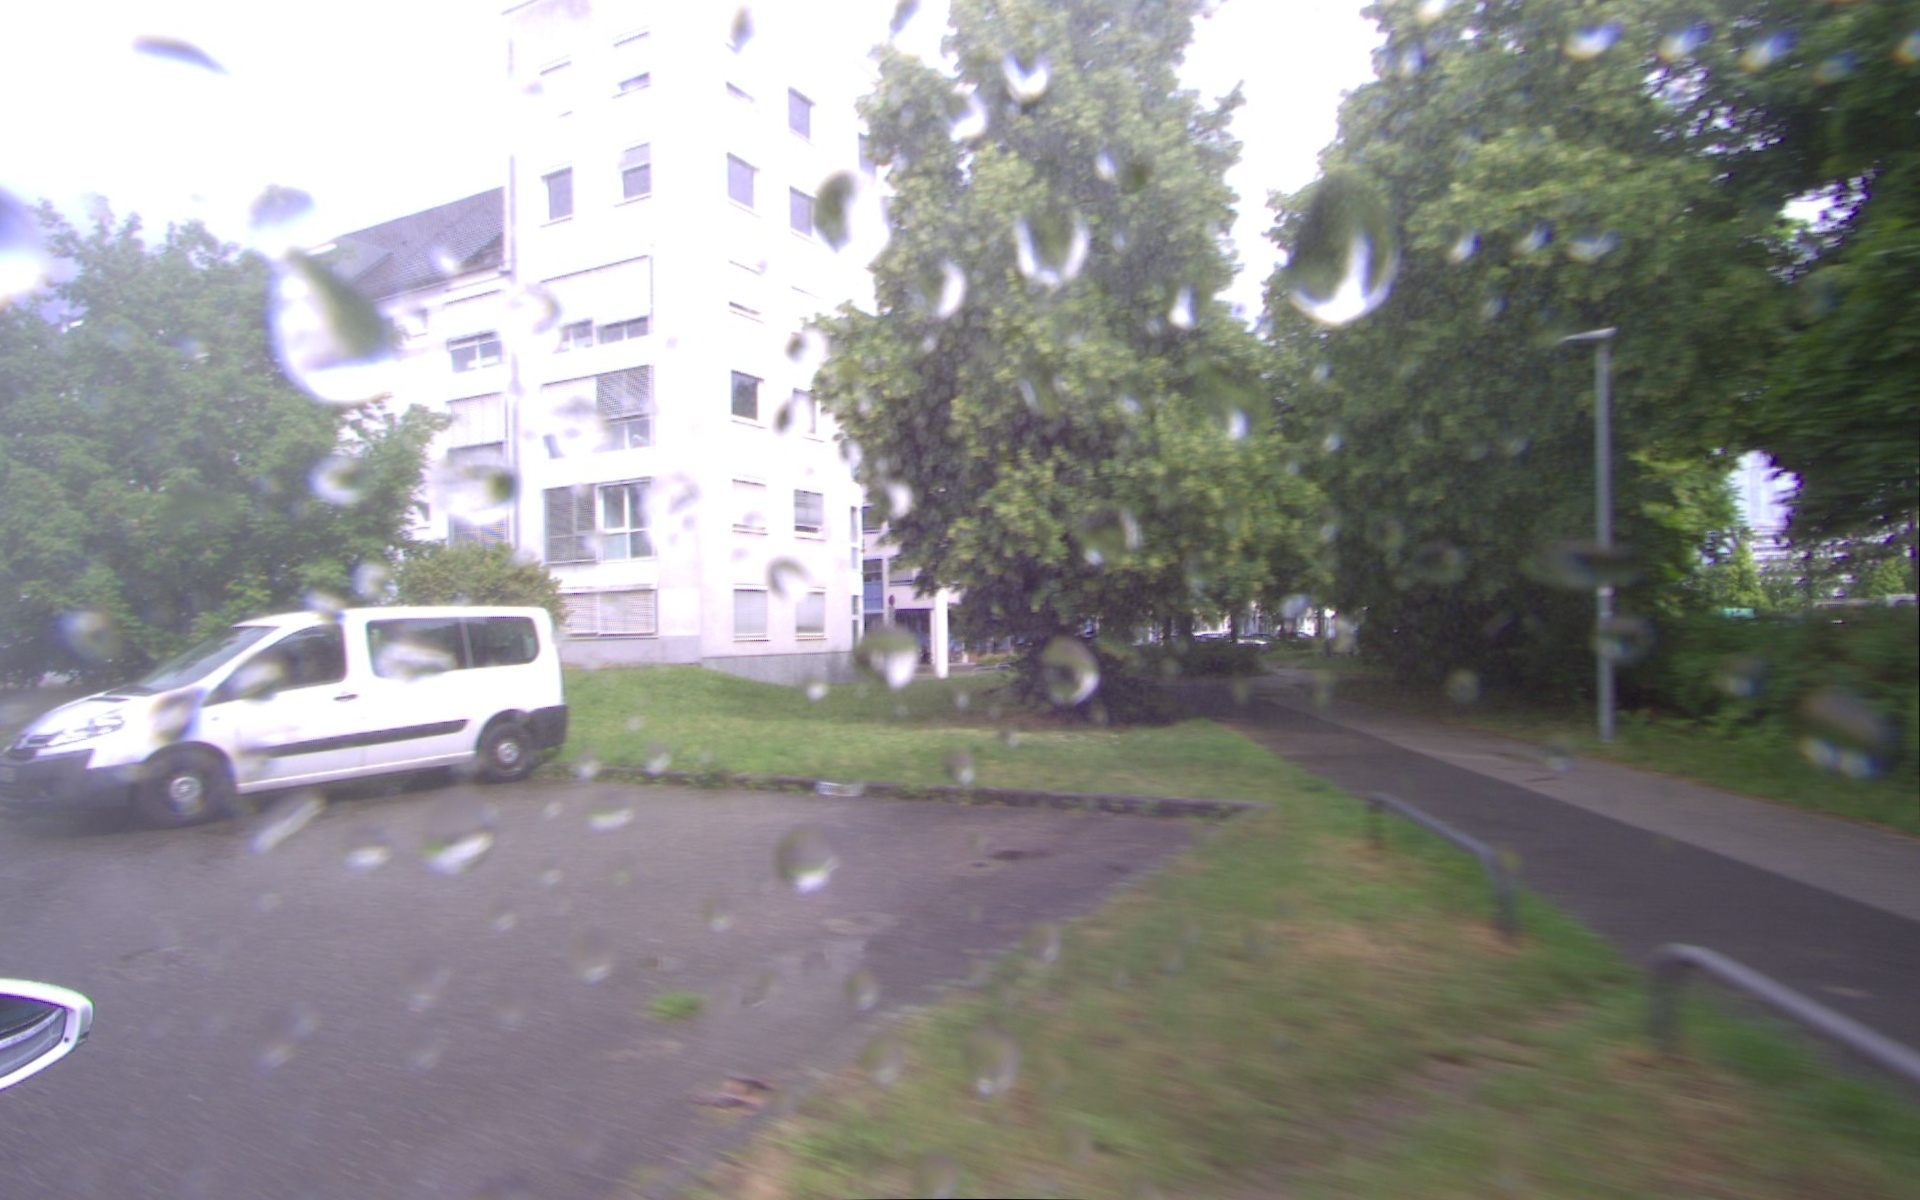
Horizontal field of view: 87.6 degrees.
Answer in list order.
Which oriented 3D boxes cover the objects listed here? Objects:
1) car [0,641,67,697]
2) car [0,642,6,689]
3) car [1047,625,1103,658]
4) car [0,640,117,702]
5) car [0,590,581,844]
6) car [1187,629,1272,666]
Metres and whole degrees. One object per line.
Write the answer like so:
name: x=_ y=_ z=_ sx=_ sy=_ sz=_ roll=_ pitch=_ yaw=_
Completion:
car: x=-27.270 y=1.951 z=27.311 sx=1.779 sy=1.464 sz=3.982 roll=-2 pitch=0 yaw=29
car: x=-31.597 y=2.078 z=30.011 sx=1.745 sy=1.477 sz=3.985 roll=-2 pitch=-1 yaw=26
car: x=7.127 y=2.547 z=61.861 sx=1.970 sy=1.814 sz=4.214 roll=0 pitch=0 yaw=30
car: x=-24.533 y=1.859 z=26.194 sx=1.663 sy=1.445 sz=3.410 roll=-2 pitch=0 yaw=29
car: x=-6.642 y=1.008 z=10.295 sx=2.071 sy=1.949 sz=4.863 roll=-2 pitch=-3 yaw=34
car: x=16.052 y=2.780 z=59.727 sx=4.522 sy=1.967 sz=2.040 roll=1 pitch=1 yaw=35
